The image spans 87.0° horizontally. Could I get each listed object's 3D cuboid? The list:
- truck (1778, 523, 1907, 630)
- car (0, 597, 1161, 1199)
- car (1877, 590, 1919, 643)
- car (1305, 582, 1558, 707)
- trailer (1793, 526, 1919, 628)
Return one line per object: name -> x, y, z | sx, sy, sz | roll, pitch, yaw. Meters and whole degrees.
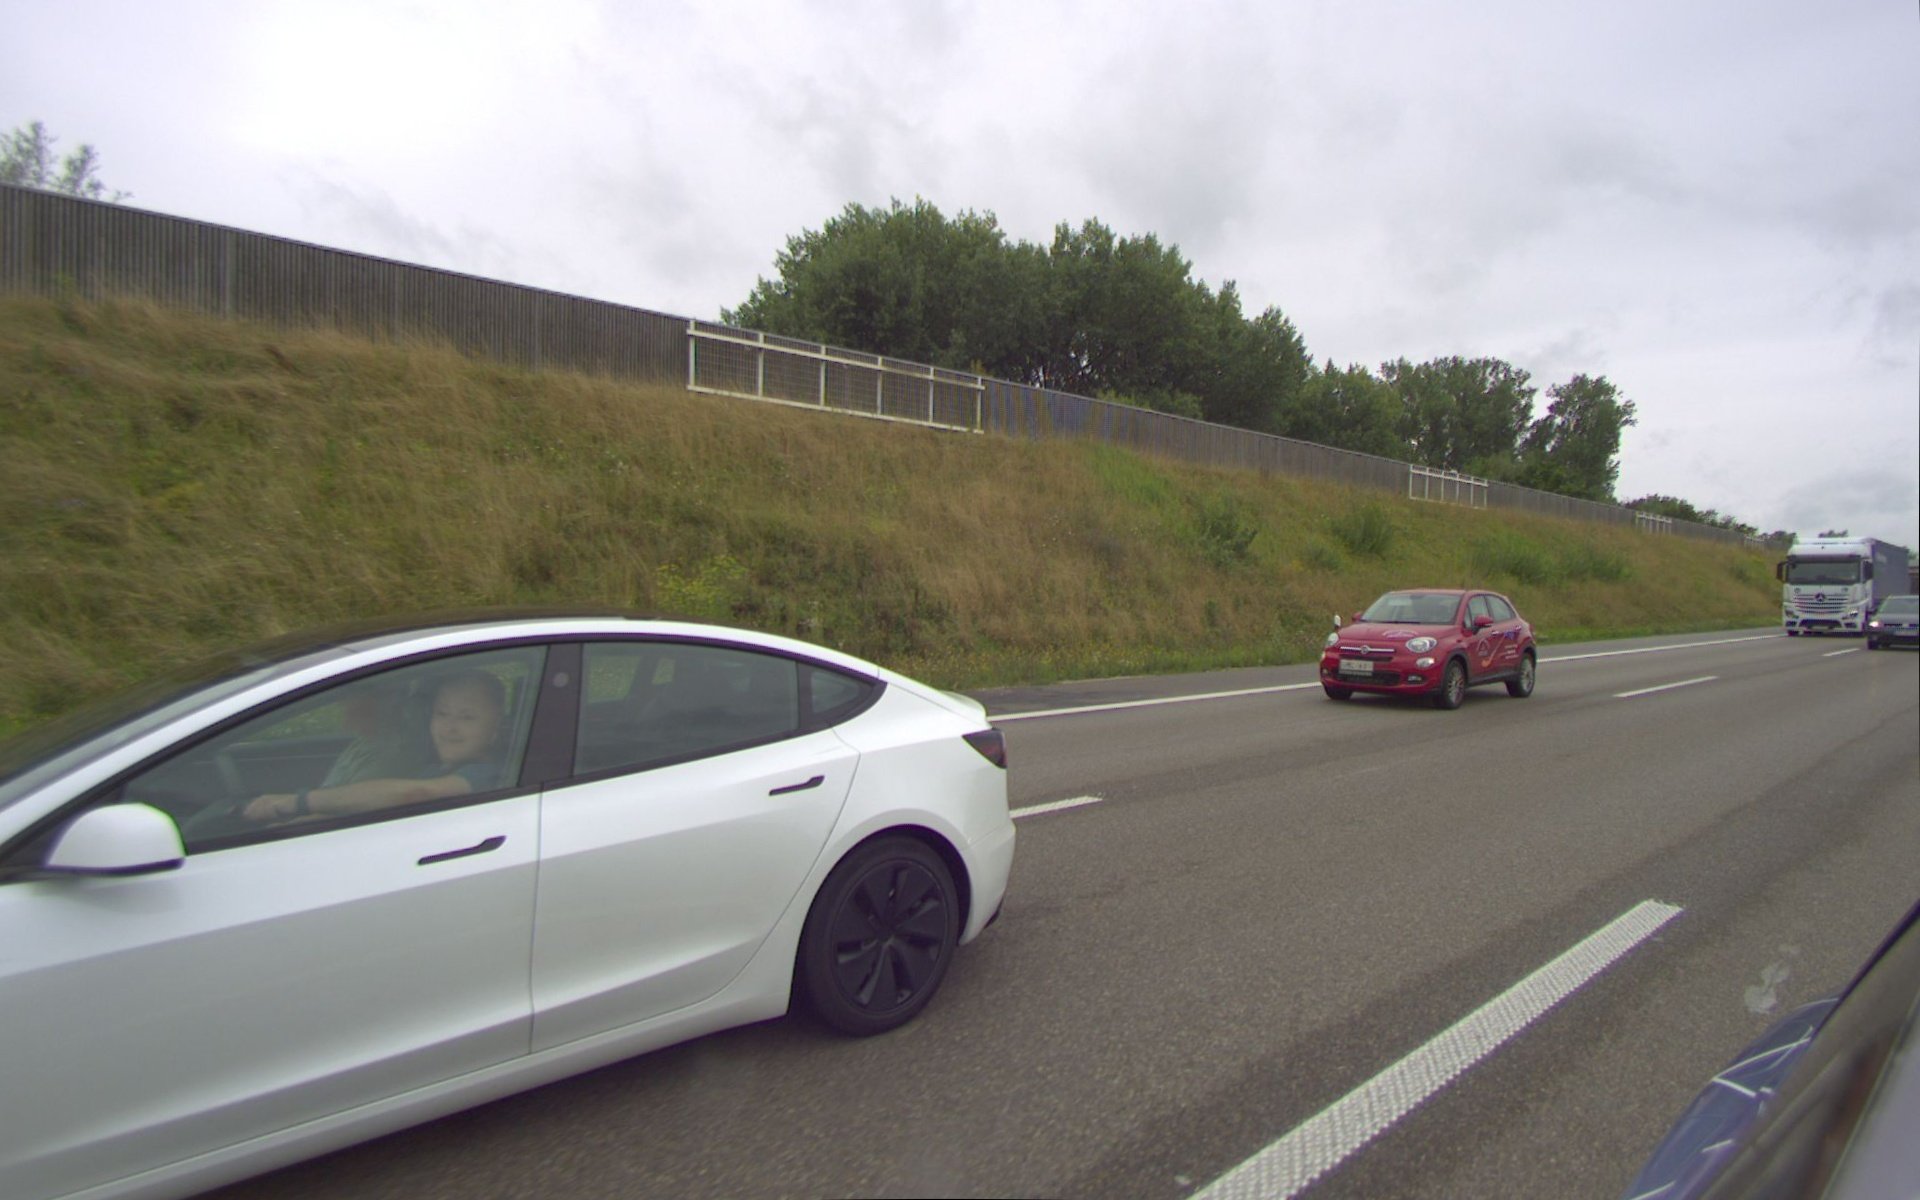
truck -> 36.487, -0.926, 41.773 | 6.835, 4.077, 3.087 | -1, 0, -41
car -> -1.578, 0.704, 3.364 | 4.727, 1.380, 1.877 | -1, 1, -40
car -> 29.352, 0.452, 30.539 | 4.406, 1.507, 1.928 | -1, 0, -40
car -> 6.880, 0.535, 14.603 | 3.930, 1.554, 1.877 | -1, 0, -41
trailer -> 41.637, -0.996, 46.220 | 14.957, 4.077, 3.087 | -1, 0, -41
